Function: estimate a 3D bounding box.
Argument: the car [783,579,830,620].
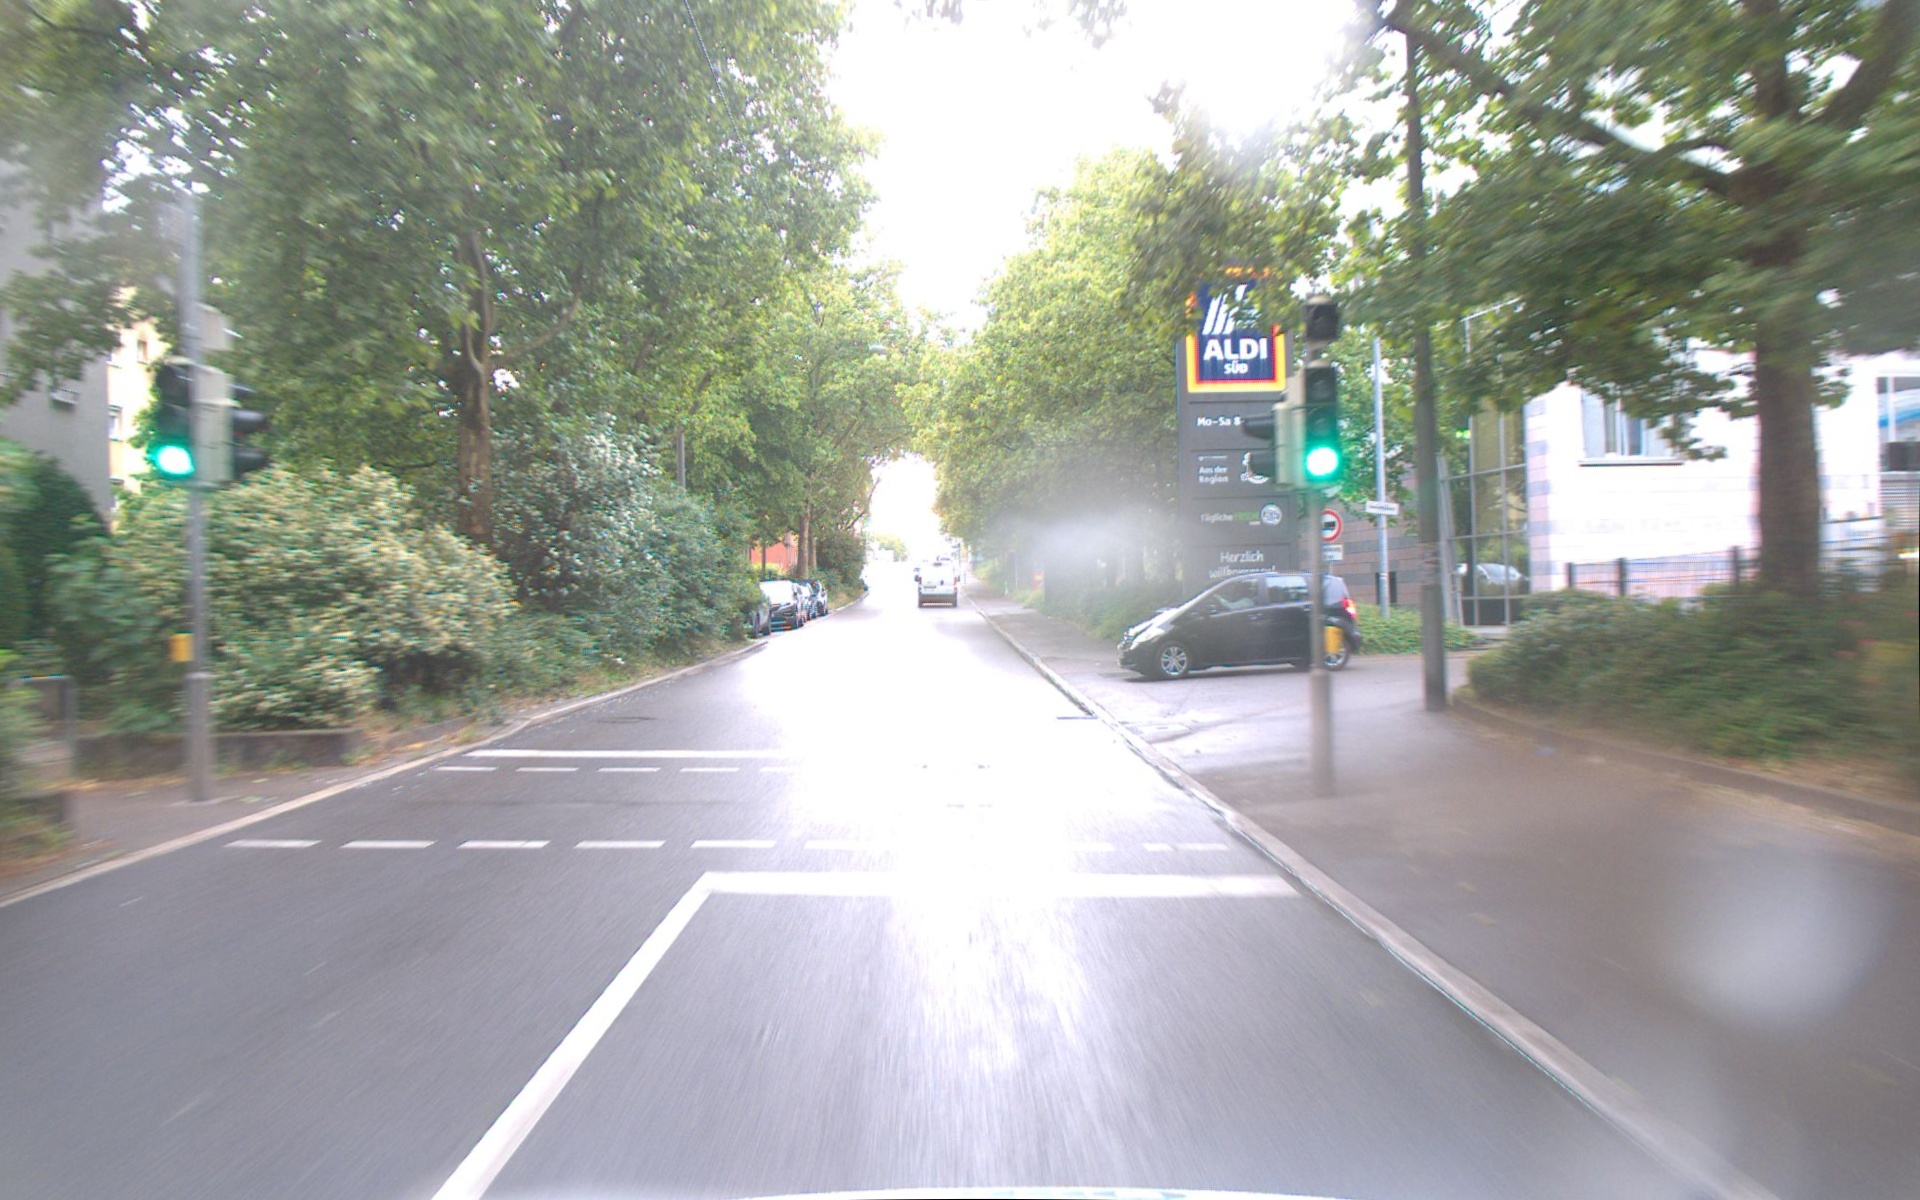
[{"bbox_3d":[-6.527,-0.054,70.744,1.615,1.564,4.017,-5,1,-1],"label":"car"}]

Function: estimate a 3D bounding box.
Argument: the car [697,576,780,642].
[{"bbox_3d":[-6.513,0.217,49.121,1.699,1.686,4.565,-5,1,0],"label":"car"}]

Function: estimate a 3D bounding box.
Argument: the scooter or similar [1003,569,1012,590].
[{"bbox_3d":[2.725,-1.155,95.567,0.417,1.162,1.528,1,-1,-3],"label":"scooter or similar"}]

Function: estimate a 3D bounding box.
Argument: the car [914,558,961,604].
[{"bbox_3d":[-1.158,-0.949,85.190,2.288,2.270,4.000,-2,0,0],"label":"car"}]

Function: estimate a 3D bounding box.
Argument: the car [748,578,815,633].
[{"bbox_3d":[-5.850,0.155,54.712,1.827,1.618,4.237,-4,1,-2],"label":"car"}]

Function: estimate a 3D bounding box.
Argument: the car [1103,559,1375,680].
[{"bbox_3d":[4.374,0.280,26.261,3.776,1.574,2.023,-4,1,-7],"label":"car"}]

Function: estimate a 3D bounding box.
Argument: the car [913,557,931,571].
[{"bbox_3d":[-4.918,-4.671,214.114,2.114,1.739,3.874,1,-1,3],"label":"car"}]
